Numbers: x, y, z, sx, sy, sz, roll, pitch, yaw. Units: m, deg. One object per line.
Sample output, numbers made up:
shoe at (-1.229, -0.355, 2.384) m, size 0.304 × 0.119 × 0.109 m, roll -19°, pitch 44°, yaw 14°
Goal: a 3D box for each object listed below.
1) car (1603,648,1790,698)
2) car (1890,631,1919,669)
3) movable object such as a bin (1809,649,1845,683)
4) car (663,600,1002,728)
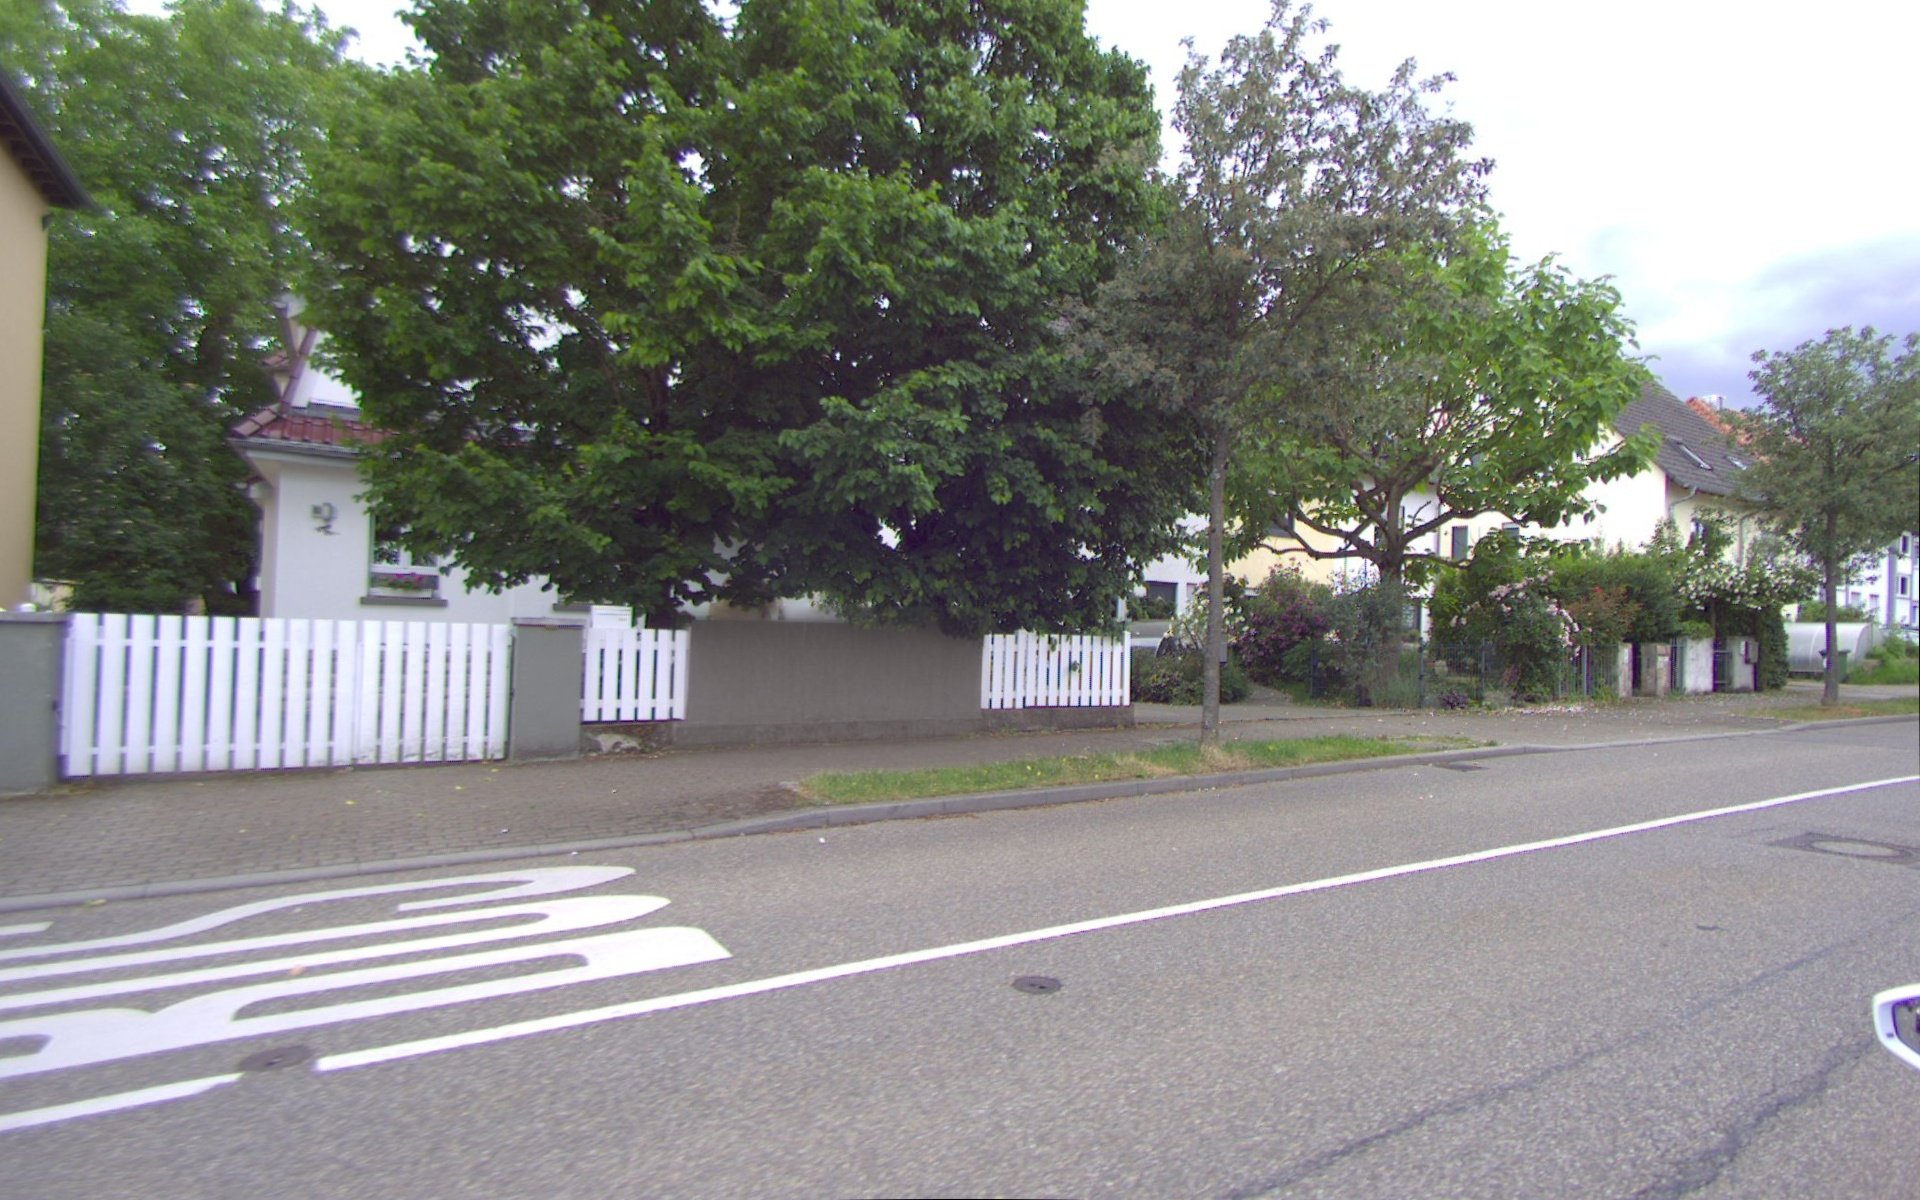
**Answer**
car at (21.224, 2.060, 29.081) m, size 1.740 × 1.303 × 4.036 m, roll 2°, pitch -3°, yaw -38°
car at (36.245, 1.911, 36.093) m, size 1.565 × 1.356 × 3.954 m, roll 3°, pitch -1°, yaw -40°
movable object such as a bin at (23.592, 1.792, 27.339) m, size 0.535 × 0.913 × 0.579 m, roll 1°, pitch -1°, yaw 13°
car at (-1.754, 0.868, 14.511) m, size 4.571 × 1.585 × 1.795 m, roll 1°, pitch -3°, yaw -35°
